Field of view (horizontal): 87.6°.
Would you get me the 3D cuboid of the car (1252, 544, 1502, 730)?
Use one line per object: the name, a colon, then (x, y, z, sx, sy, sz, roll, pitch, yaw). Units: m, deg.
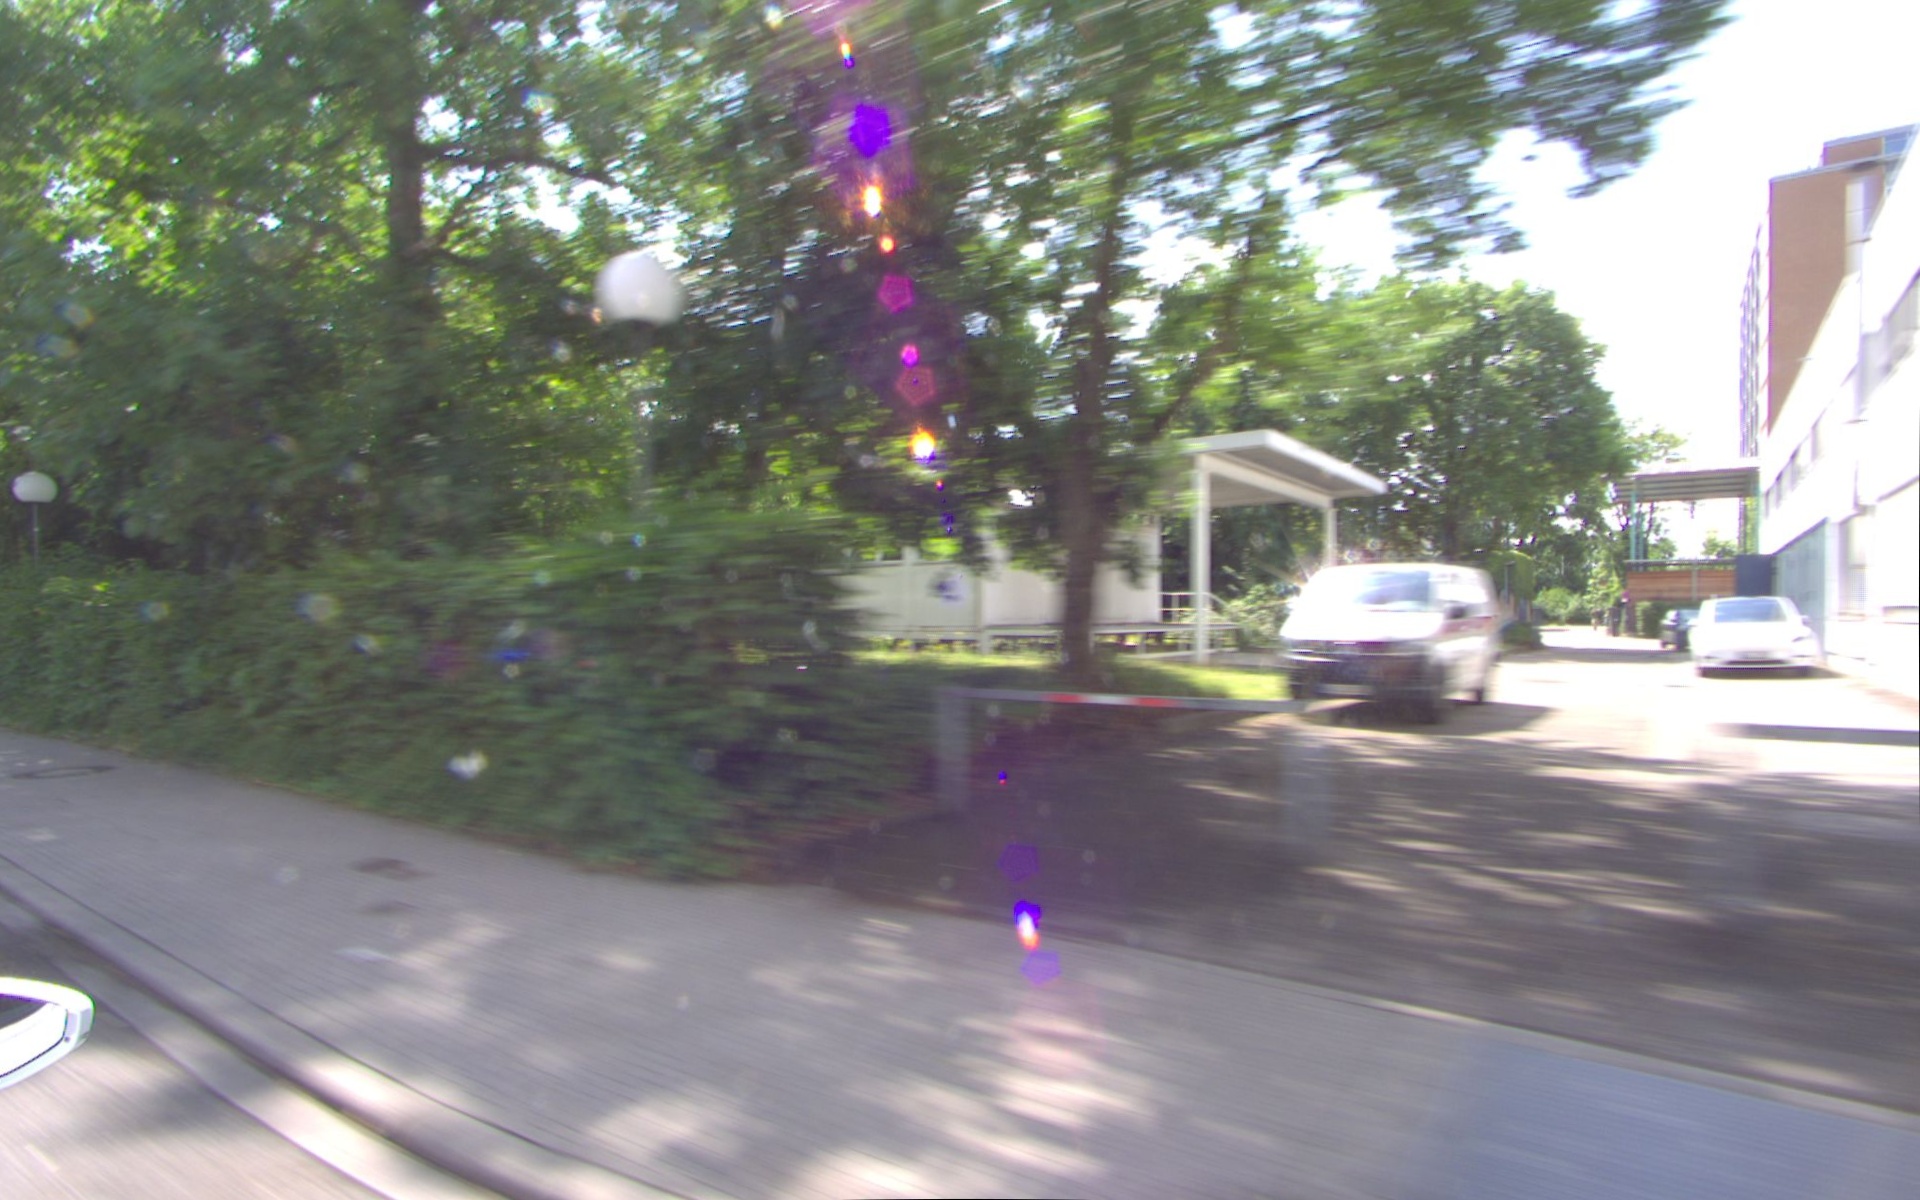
car: (5.800, 0.429, 13.533, 2.035, 2.040, 4.808, 0, 0, 37)

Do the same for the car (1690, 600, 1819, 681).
car: (16.972, 0.824, 21.553, 1.975, 1.563, 4.066, -2, -2, 37)

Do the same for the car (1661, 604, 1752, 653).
car: (25.368, 0.959, 34.175, 1.916, 1.563, 4.076, -2, -2, 29)

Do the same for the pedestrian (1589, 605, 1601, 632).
pedestrian: (48.085, 1.431, 75.826, 0.740, 2.040, 0.815, 0, -1, 30)
